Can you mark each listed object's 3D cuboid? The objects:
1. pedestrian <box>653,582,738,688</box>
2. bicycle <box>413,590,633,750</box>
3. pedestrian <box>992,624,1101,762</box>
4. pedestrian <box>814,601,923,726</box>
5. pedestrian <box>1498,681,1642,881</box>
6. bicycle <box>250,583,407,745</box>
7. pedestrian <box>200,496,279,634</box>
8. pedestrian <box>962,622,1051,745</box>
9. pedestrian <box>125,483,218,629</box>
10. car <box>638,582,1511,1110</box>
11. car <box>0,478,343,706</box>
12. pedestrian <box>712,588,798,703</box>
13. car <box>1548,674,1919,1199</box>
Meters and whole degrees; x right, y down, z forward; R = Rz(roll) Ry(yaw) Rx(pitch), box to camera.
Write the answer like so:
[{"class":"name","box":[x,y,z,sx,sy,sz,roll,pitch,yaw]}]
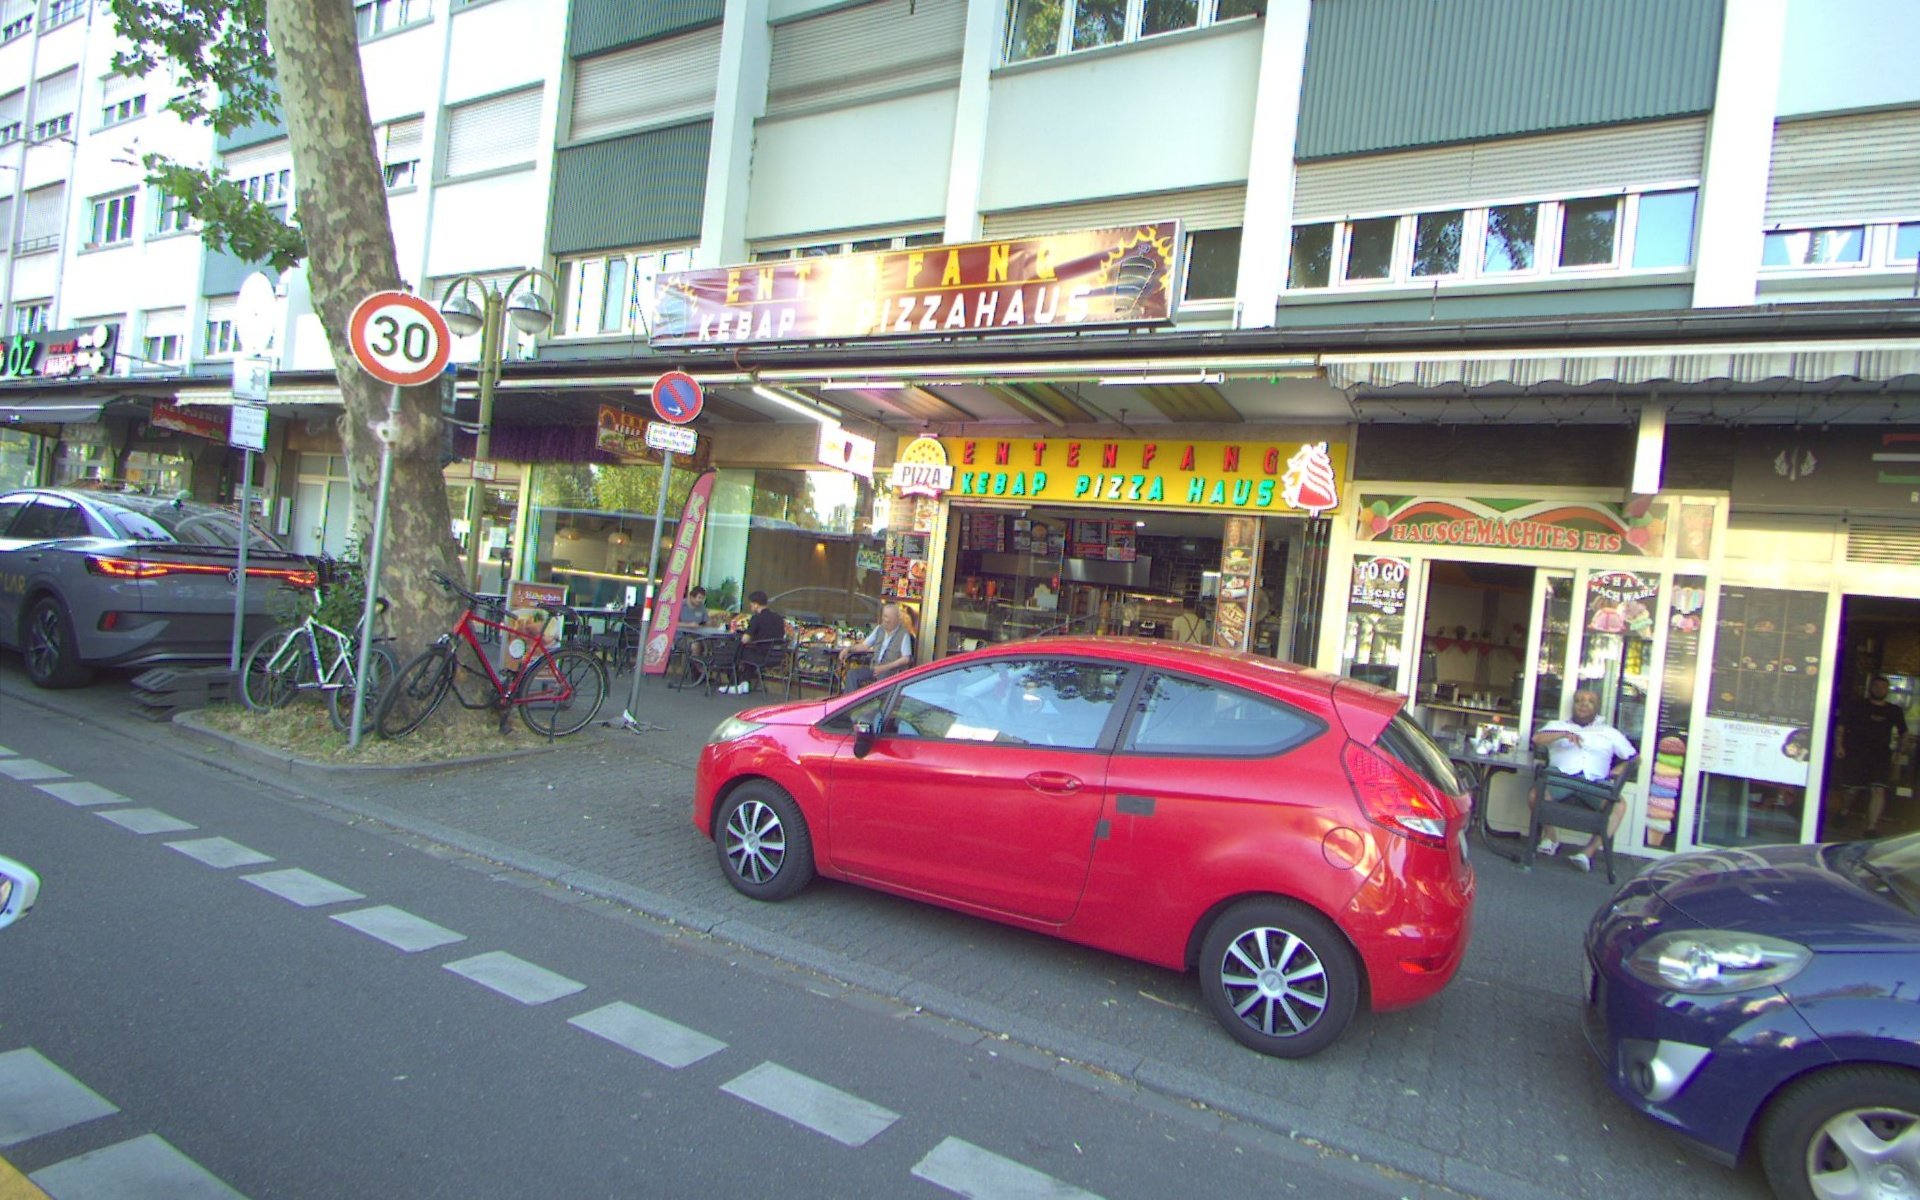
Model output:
[{"class":"pedestrian","box":[-3.246,0.420,12.359,0.694,1.220,0.675,7,3,42]},{"class":"bicycle","box":[-3.242,0.507,7.556,0.291,1.082,1.455,12,7,42]},{"class":"pedestrian","box":[0.812,0.845,9.417,0.740,1.172,0.593,6,3,33]},{"class":"pedestrian","box":[-0.988,0.673,10.864,0.861,1.237,0.688,2,3,-44]},{"class":"pedestrian","box":[4.627,1.302,7.620,0.767,1.249,1.202,6,2,33]},{"class":"bicycle","box":[-4.453,0.426,7.077,1.110,0.941,0.295,9,6,21]},{"class":"pedestrian","box":[-11.236,-0.540,15.691,0.684,2.038,0.613,7,0,29]},{"class":"pedestrian","box":[0.483,0.835,10.380,0.585,1.172,0.671,6,3,31]},{"class":"pedestrian","box":[-11.601,-0.636,14.805,0.684,2.038,0.692,6,0,27]},{"class":"car","box":[0.468,0.844,4.991,3.780,1.448,1.668,7,2,27]},{"class":"car","box":[-7.850,-0.200,9.211,4.223,1.619,1.742,7,2,27]},{"class":"pedestrian","box":[-2.400,0.522,11.796,0.701,1.260,0.614,6,3,41]},{"class":"car","box":[3.874,1.219,2.922,3.543,1.485,1.620,7,2,29]}]
